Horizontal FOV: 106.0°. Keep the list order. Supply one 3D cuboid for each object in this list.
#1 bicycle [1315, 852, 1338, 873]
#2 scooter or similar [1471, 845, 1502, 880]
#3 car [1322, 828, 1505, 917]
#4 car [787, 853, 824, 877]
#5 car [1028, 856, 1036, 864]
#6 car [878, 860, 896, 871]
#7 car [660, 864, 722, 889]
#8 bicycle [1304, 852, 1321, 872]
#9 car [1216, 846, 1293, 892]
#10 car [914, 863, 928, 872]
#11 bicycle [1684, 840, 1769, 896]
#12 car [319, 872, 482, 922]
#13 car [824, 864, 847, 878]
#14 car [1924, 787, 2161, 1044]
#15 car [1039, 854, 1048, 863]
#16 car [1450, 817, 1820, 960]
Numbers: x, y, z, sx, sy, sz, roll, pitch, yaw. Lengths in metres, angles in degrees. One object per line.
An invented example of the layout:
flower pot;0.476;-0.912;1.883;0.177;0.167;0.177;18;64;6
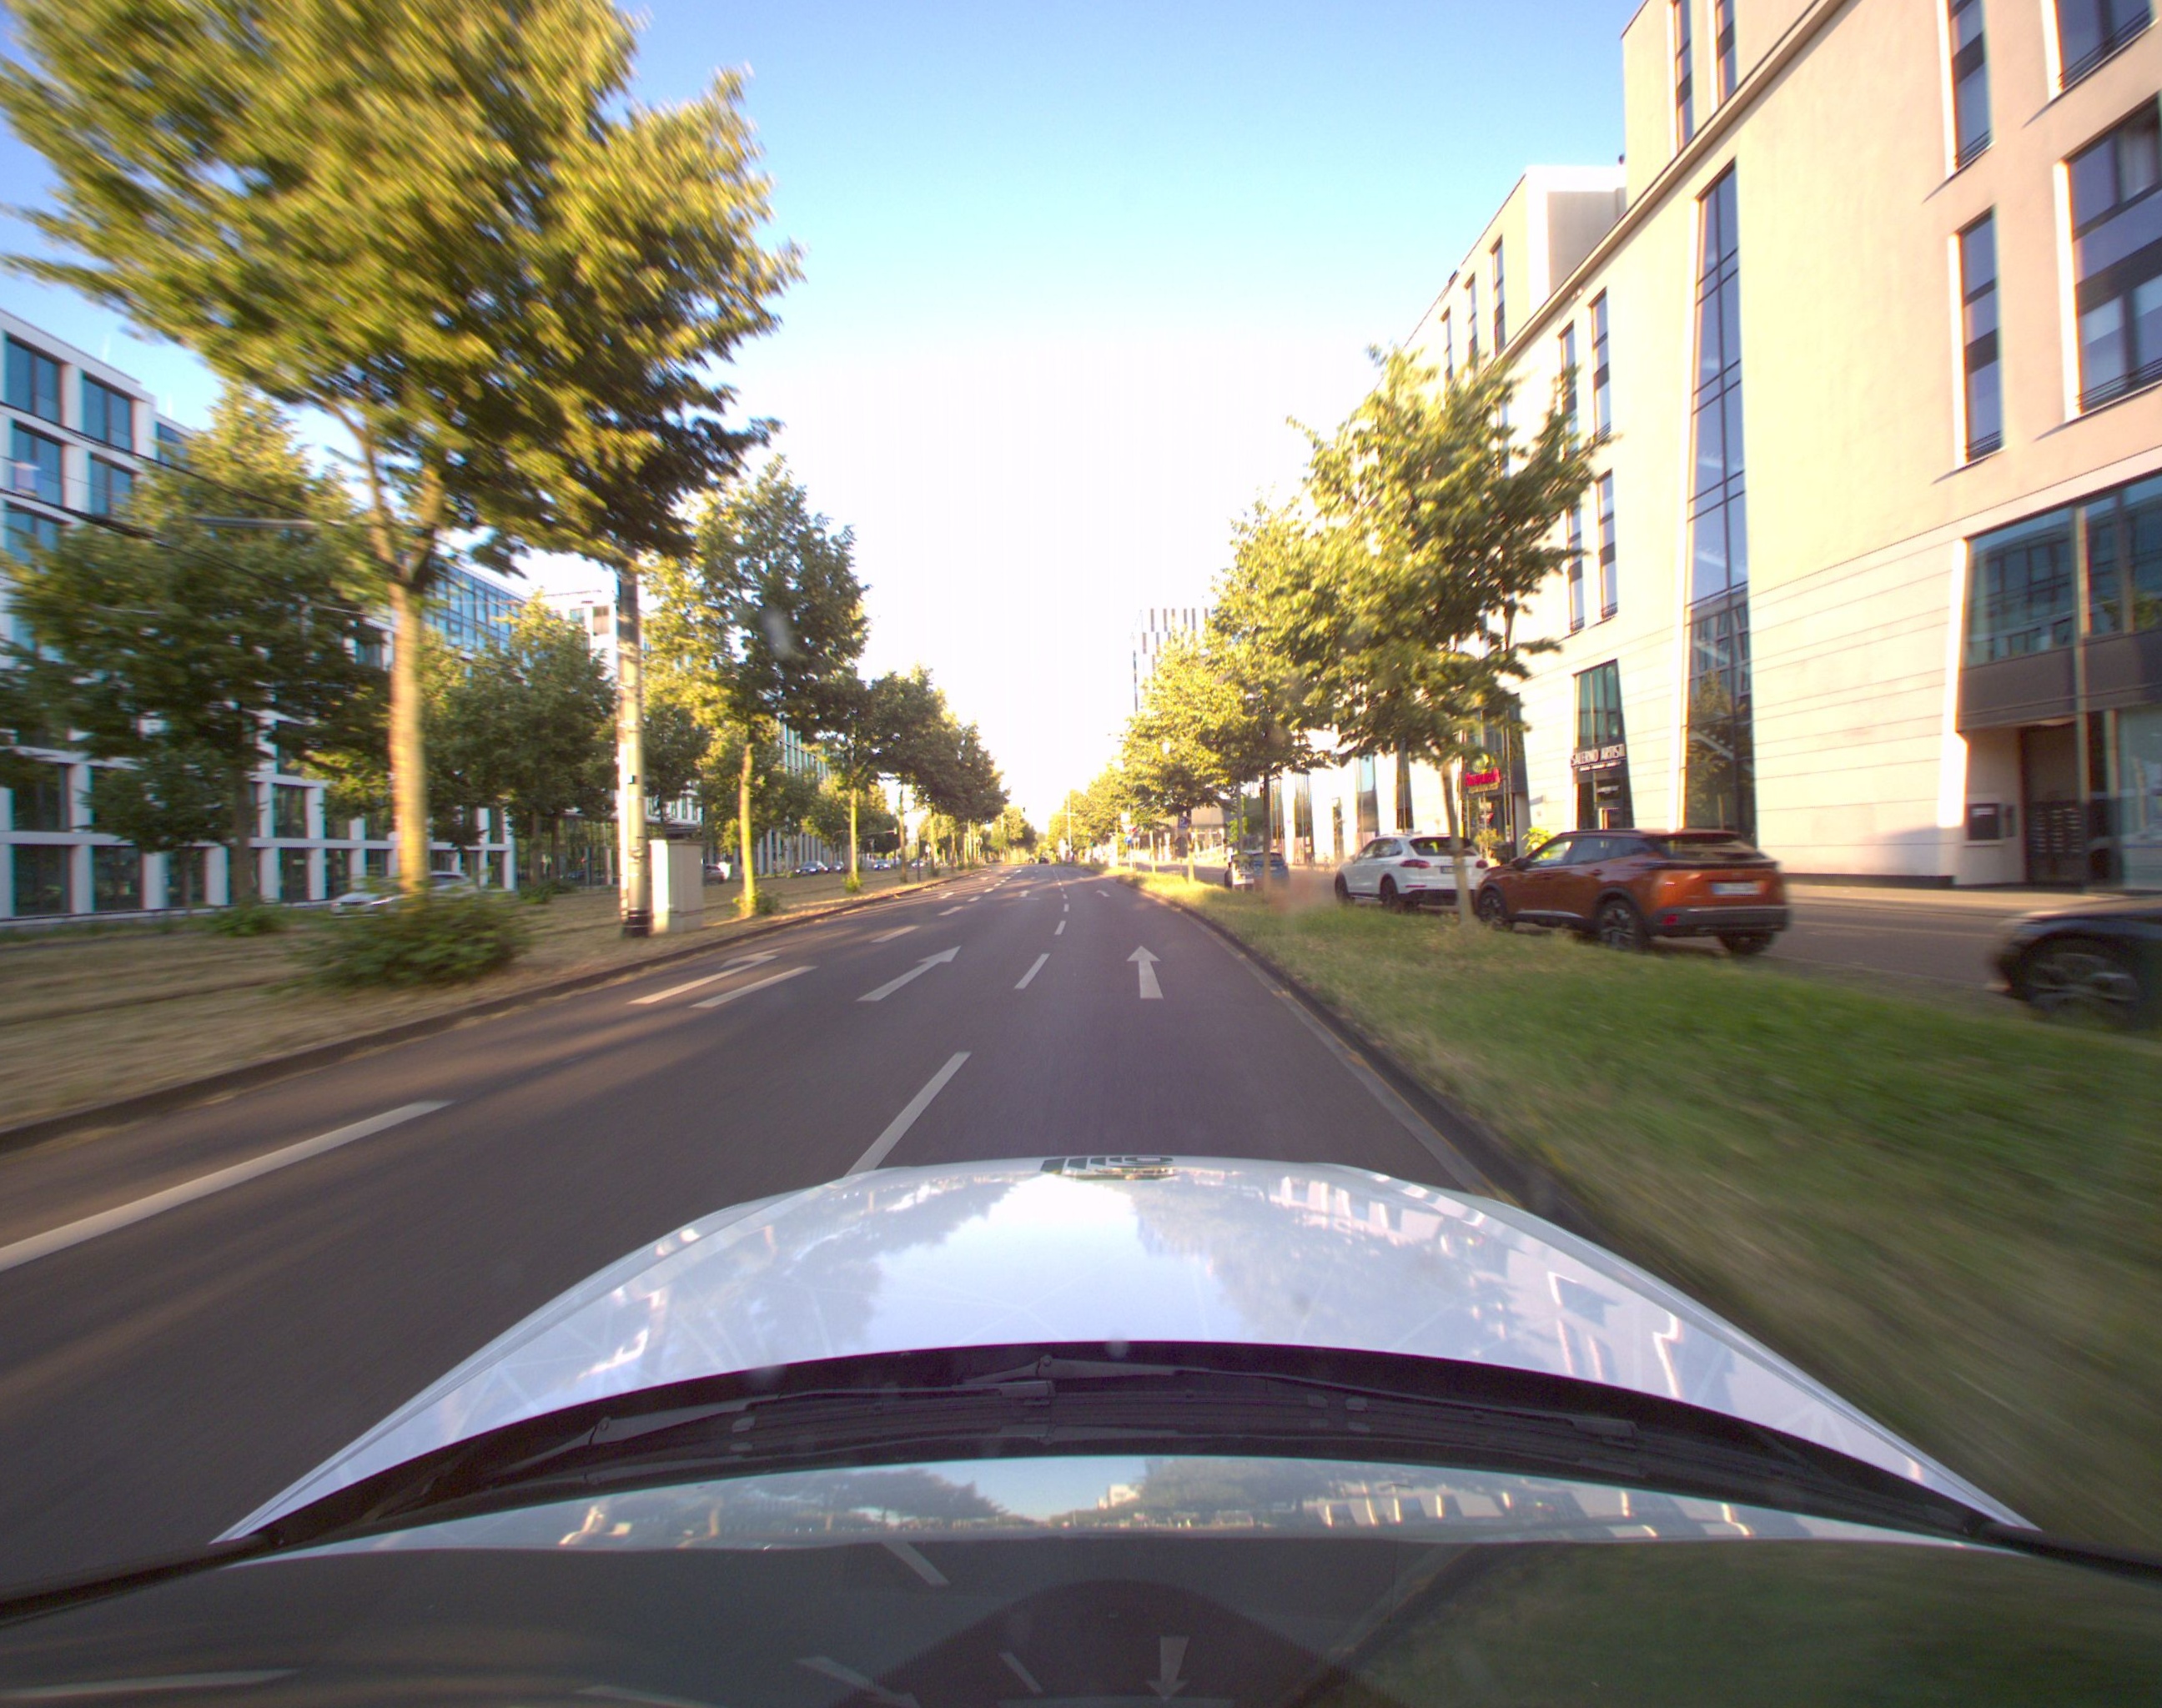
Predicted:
bicycle;12.949;0.445;42.968;0.516;1.061;1.959;-4;0;-1
scooter or similar;14.108;0.288;28.338;0.355;1.187;1.310;-3;0;-1
car;7.234;0.357;18.414;1.946;1.714;5.155;0;0;-1
car;-24.278;0.971;71.854;1.989;2.013;3.995;-2;0;-4
car;-12.532;1.514;207.798;2.083;2.013;3.995;-2;0;-3
car;-26.645;1.589;111.932;1.654;1.332;4.578;-1;0;-4
car;-22.874;1.281;47.961;1.654;1.332;4.735;-2;0;-4
bicycle;12.984;0.427;45.729;0.444;1.072;1.774;-4;0;2
car;6.262;0.511;29.787;1.720;1.529;4.264;0;0;-3
car;-25.775;2.226;131.542;1.783;1.332;3.666;-2;0;-4
bicycle;13.985;0.273;17.704;0.567;1.124;1.838;-4;0;9
car;-21.777;1.317;26.332;1.654;1.332;4.523;-2;0;-4
car;-28.468;1.901;94.647;1.654;1.502;4.184;-1;0;-4
car;7.562;0.339;3.864;1.940;1.549;4.804;-2;0;-5
car;-8.829;1.046;189.547;1.989;2.013;3.995;-2;0;-3
car;7.040;0.374;11.077;1.850;1.529;4.478;0;0;-3
